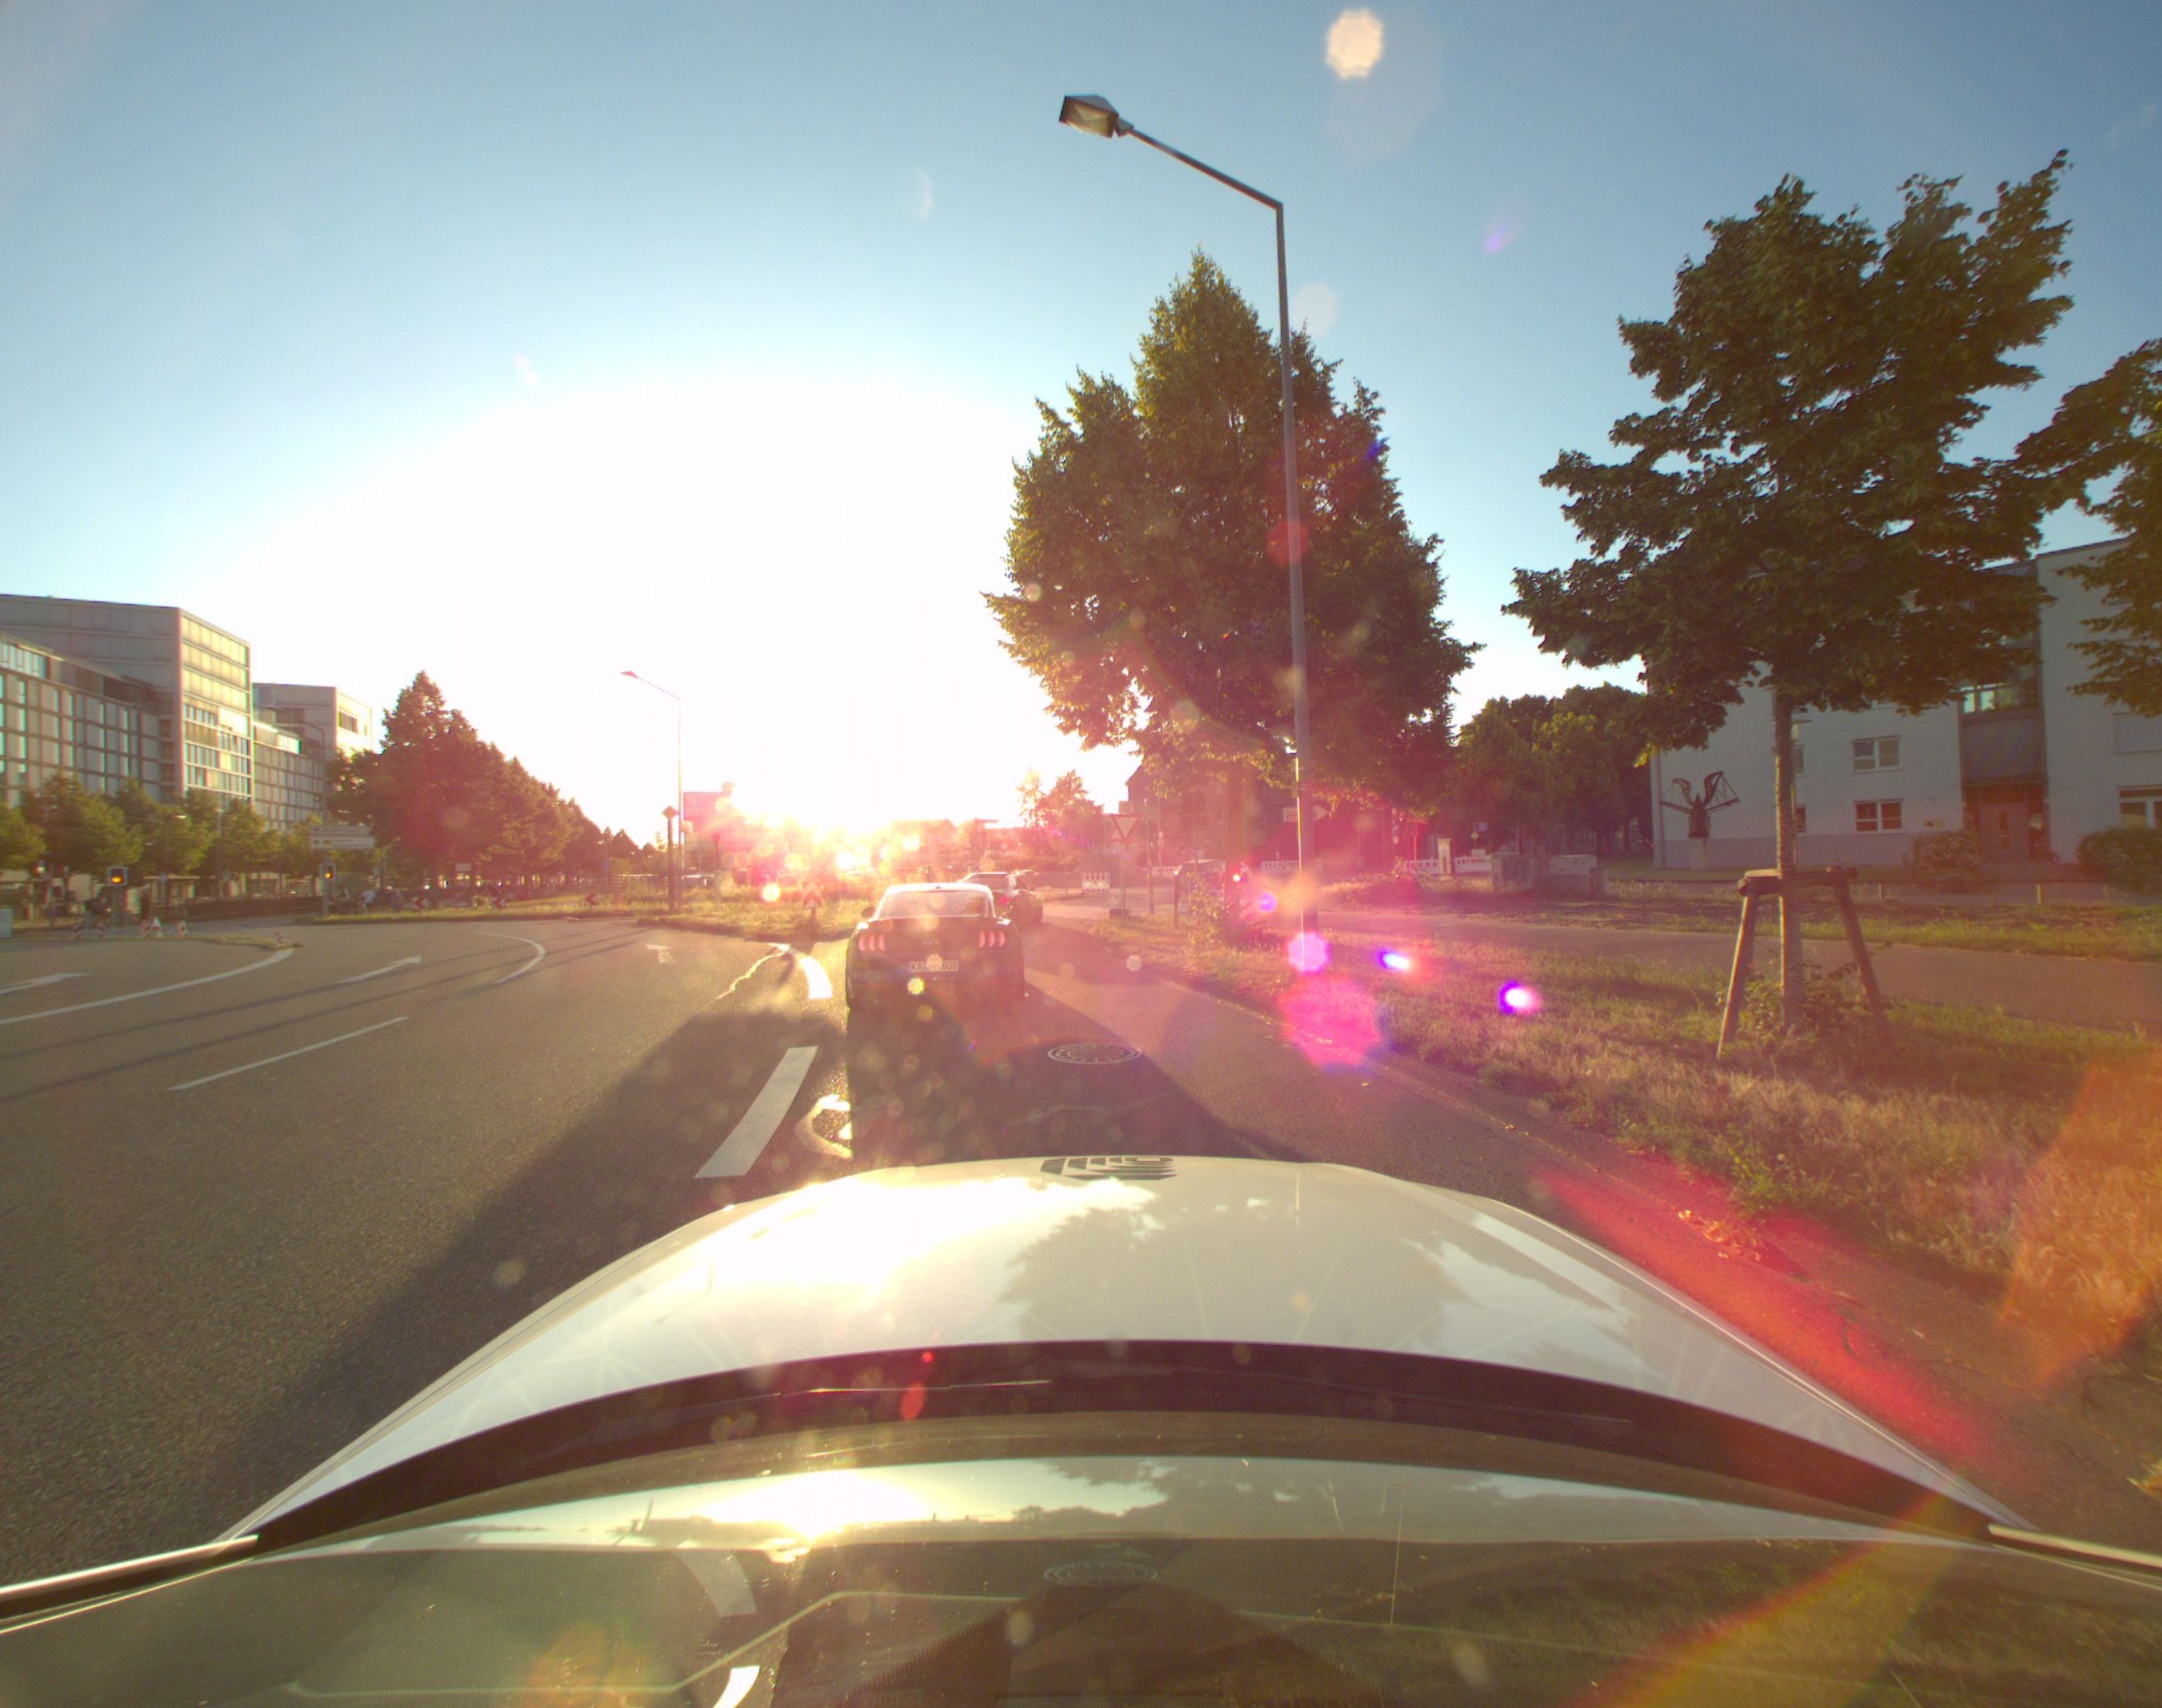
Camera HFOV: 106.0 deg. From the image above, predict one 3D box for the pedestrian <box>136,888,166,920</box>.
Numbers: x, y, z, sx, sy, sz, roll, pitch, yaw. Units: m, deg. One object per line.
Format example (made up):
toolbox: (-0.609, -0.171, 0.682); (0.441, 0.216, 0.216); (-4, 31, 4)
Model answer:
pedestrian: (-51.539, 2.750, 45.147); (0.891, 1.707, 0.786); (-1, -1, -32)

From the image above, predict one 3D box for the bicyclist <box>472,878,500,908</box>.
bicyclist: (-33.154, 2.145, 45.383); (0.971, 1.612, 0.754); (-2, -1, 0)

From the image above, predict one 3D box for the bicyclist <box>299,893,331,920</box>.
bicyclist: (-41.413, 2.854, 44.047); (0.975, 1.394, 0.752); (-2, -1, -9)

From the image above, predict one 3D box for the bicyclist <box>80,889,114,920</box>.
bicyclist: (-50.956, 2.603, 42.180); (0.983, 1.525, 0.746); (-1, -1, -38)

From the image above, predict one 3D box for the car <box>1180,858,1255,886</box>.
car: (8.783, 1.111, 52.169); (4.678, 1.452, 2.052); (-4, 3, -37)

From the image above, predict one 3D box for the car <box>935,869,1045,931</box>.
car: (-2.227, 1.116, 21.212); (1.941, 1.427, 4.436); (0, -1, 6)

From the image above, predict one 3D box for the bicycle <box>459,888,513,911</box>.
bicycle: (-33.156, 2.554, 45.396); (2.394, 1.167, 0.754); (-2, -1, 0)

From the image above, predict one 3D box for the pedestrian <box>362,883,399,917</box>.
pedestrian: (-38.388, 2.514, 44.659); (1.155, 1.827, 0.978); (-2, -1, -3)

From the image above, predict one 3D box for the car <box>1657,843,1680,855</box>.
car: (84.793, -0.693, 117.560); (4.101, 1.602, 1.933); (-1, -1, -44)

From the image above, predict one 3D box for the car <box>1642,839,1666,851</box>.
car: (77.063, -1.172, 109.483); (4.101, 1.602, 1.933); (-1, -1, -44)

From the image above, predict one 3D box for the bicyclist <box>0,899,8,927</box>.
bicyclist: (-53.965, 2.952, 40.289); (0.883, 1.392, 0.746); (-1, -1, -35)

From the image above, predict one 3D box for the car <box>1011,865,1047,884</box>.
car: (-4.954, 1.941, 77.074); (2.005, 1.706, 3.964); (-1, -1, -27)

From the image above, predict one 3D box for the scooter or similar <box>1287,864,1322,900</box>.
scooter or similar: (8.131, 1.012, 29.614); (1.118, 1.238, 0.441); (-2, -1, -6)

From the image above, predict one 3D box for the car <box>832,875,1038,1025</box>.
car: (-1.789, 0.974, 10.221); (1.951, 1.342, 4.654); (-1, -1, -10)

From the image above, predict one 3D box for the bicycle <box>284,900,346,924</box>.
bicycle: (-41.419, 3.143, 44.060); (2.401, 1.167, 0.752); (-2, -1, -9)

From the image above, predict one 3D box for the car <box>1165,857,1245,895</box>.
car: (5.930, 1.027, 38.659); (1.932, 1.602, 4.103); (-3, -1, 38)

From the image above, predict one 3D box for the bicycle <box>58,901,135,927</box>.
bicycle: (-50.894, 3.104, 42.137); (2.421, 1.167, 0.746); (-1, -1, -38)

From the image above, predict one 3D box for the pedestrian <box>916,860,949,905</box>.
pedestrian: (-5.717, 1.086, 31.332); (0.851, 1.686, 0.876); (-1, -1, -44)

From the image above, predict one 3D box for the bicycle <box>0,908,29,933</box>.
bicycle: (-54.044, 3.320, 40.228); (2.419, 1.167, 0.746); (-1, -1, -35)
